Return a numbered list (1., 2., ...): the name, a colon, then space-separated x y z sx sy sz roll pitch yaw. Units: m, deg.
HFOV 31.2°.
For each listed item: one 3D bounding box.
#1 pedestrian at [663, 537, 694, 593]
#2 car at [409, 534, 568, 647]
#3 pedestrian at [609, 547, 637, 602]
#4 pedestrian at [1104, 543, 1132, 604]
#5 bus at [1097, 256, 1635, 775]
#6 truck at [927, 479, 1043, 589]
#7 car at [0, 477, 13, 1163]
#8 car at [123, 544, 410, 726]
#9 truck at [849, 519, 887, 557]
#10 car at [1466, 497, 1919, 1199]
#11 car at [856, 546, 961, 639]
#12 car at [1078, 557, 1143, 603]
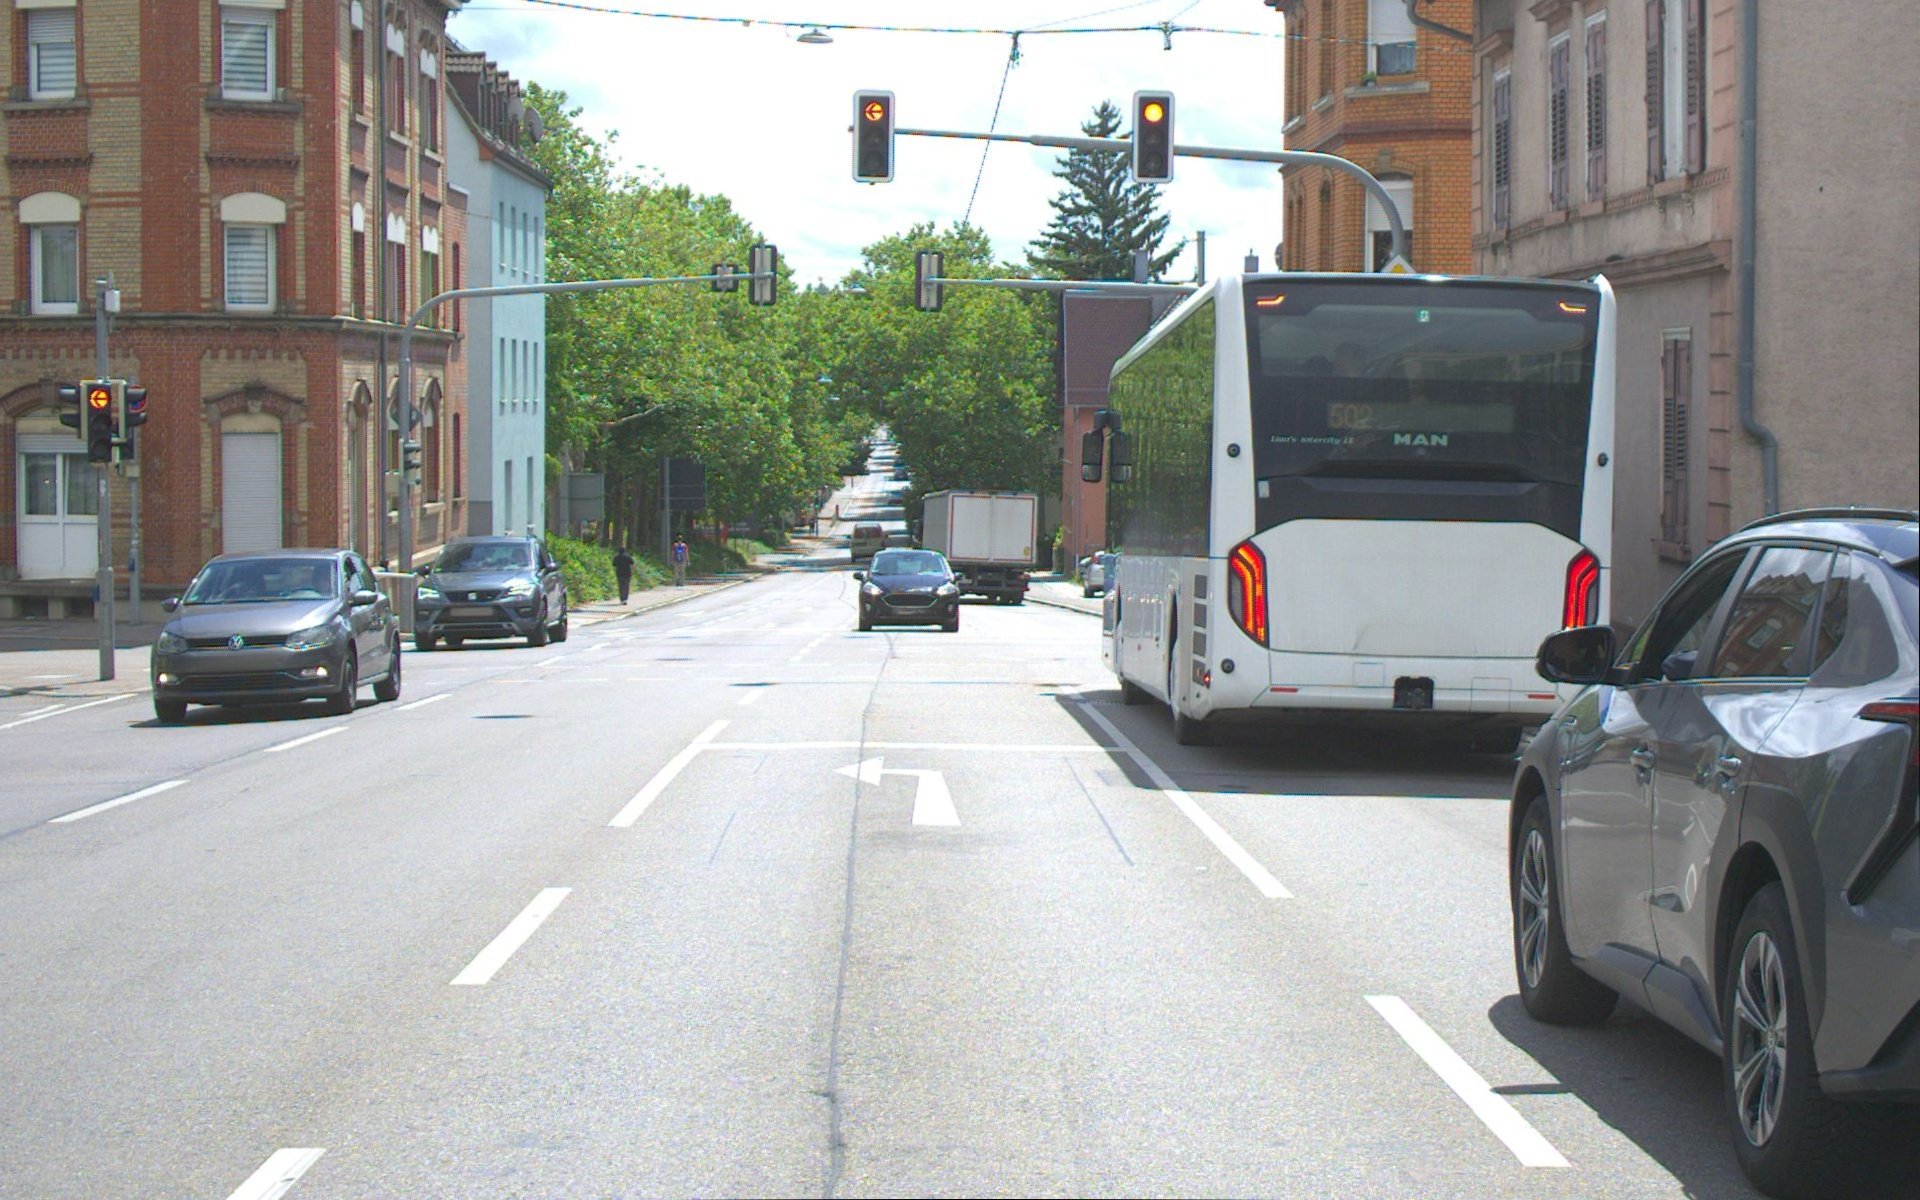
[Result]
1. pedestrian: -10.160 -1.282 124.133 0.995 2.007 1.189 0 1 -1
2. car: -6.737 -0.173 49.438 1.758 1.516 3.958 -1 1 -1
3. pedestrian: -9.602 -0.741 97.935 0.729 1.560 0.561 0 1 -1
4. pedestrian: 4.514 -0.758 98.060 0.738 1.744 0.619 -1 1 0
5. bus: 2.747 -0.685 27.360 2.672 3.145 12.463 -1 2 0
6. truck: 0.666 -1.949 101.256 2.926 3.070 7.886 -1 1 -3
7. car: -3.185 0.566 5.938 1.919 1.608 4.416 0 1 -1
8. car: -6.030 0.258 30.295 1.758 1.408 3.734 -2 1 -1
9. truck: -4.976 -3.336 186.485 1.993 2.007 4.000 1 1 -1
10. car: 2.708 0.567 9.218 1.919 1.608 4.684 1 1 -1
11. car: -0.895 -0.152 60.075 1.758 1.511 3.794 -1 1 -1
12. car: 4.888 -0.675 111.976 1.794 1.405 4.001 -1 1 -2
